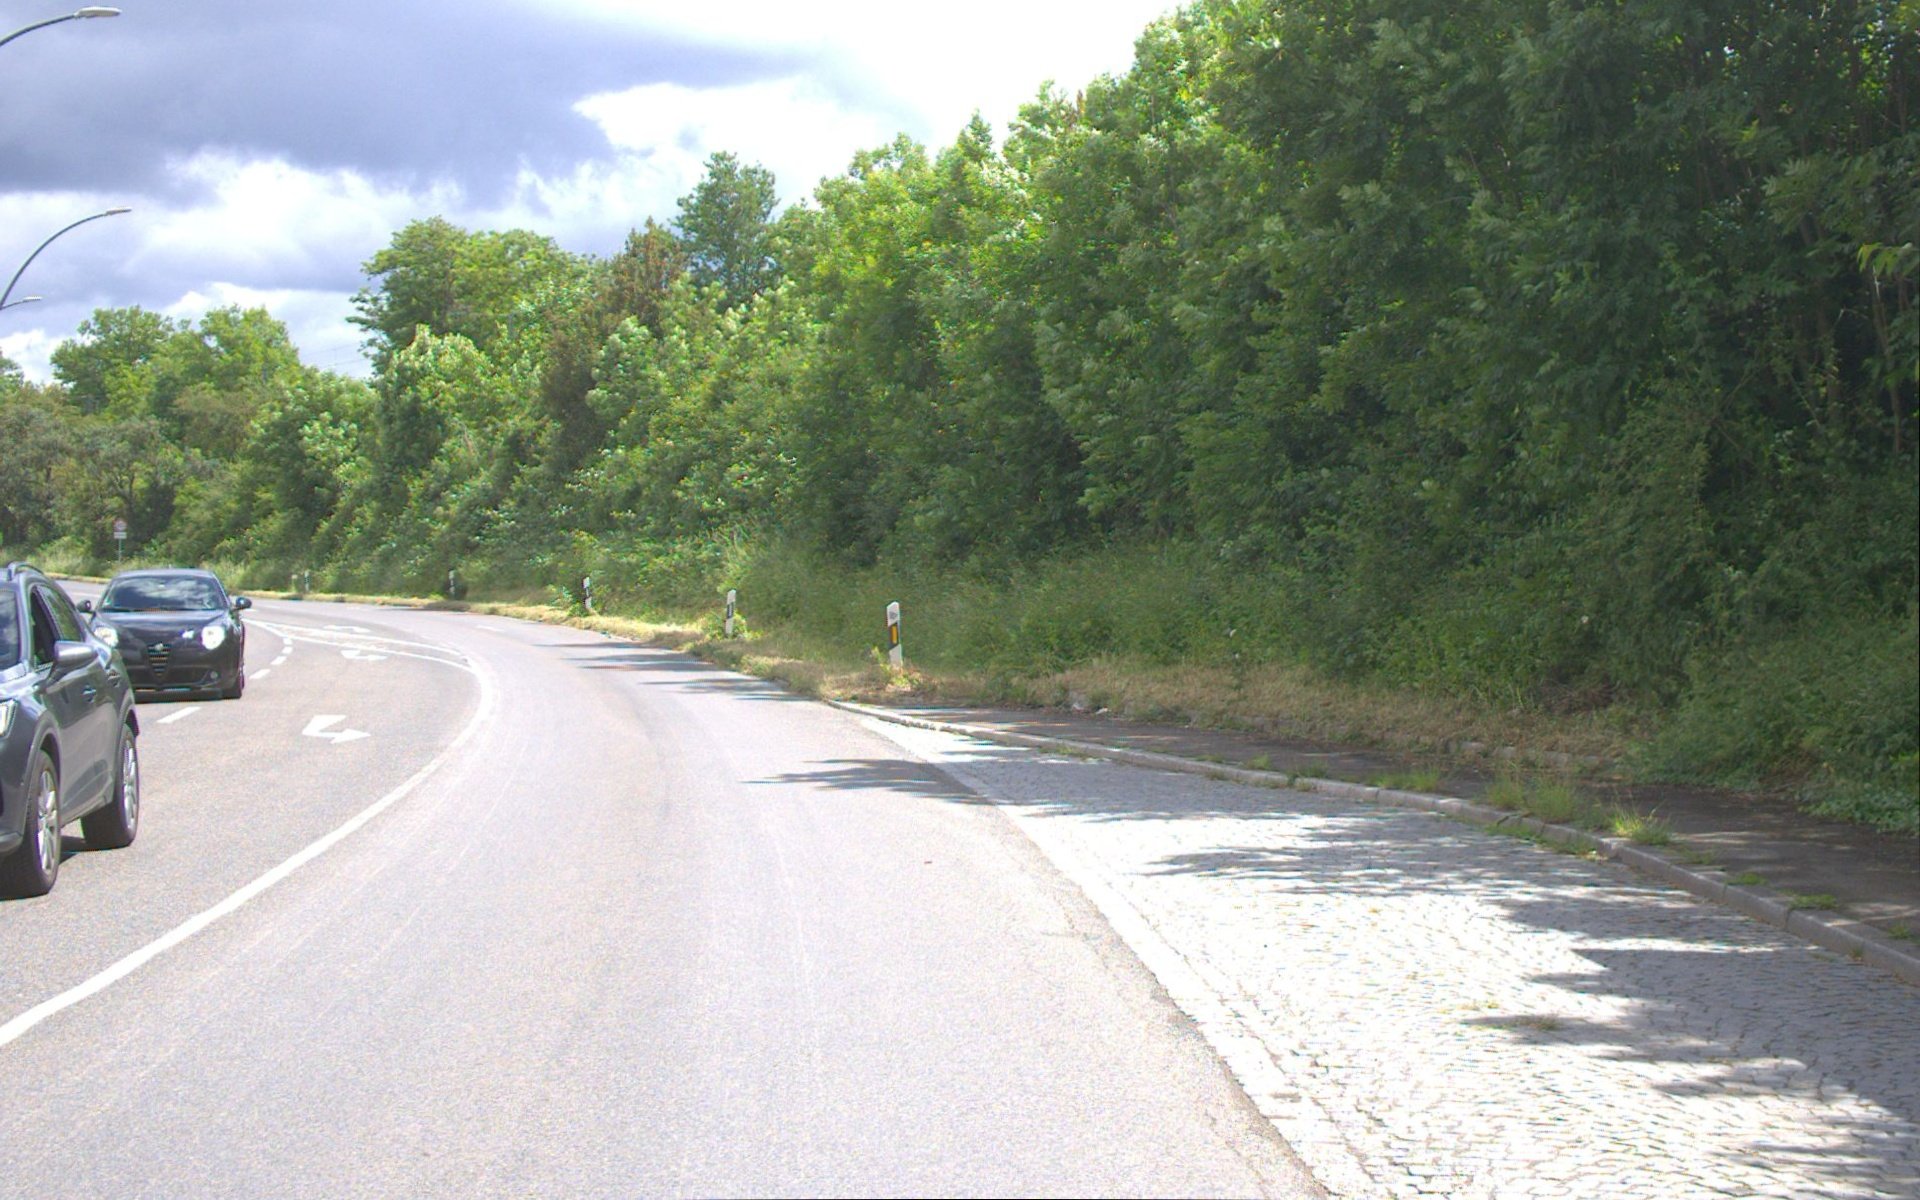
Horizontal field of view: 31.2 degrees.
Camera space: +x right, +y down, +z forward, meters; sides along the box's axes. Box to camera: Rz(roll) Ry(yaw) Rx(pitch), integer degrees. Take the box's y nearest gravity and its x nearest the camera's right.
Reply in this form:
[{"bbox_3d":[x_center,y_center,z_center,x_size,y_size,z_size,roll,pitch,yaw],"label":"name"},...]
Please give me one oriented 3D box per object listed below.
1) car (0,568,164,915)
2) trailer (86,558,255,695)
[{"bbox_3d":[-5.073,0.586,16.515,1.839,1.458,4.254,-1,1,-5],"label":"car"},{"bbox_3d":[-8.824,0.254,38.641,1.647,1.418,4.001,-1,1,-10],"label":"trailer"}]
